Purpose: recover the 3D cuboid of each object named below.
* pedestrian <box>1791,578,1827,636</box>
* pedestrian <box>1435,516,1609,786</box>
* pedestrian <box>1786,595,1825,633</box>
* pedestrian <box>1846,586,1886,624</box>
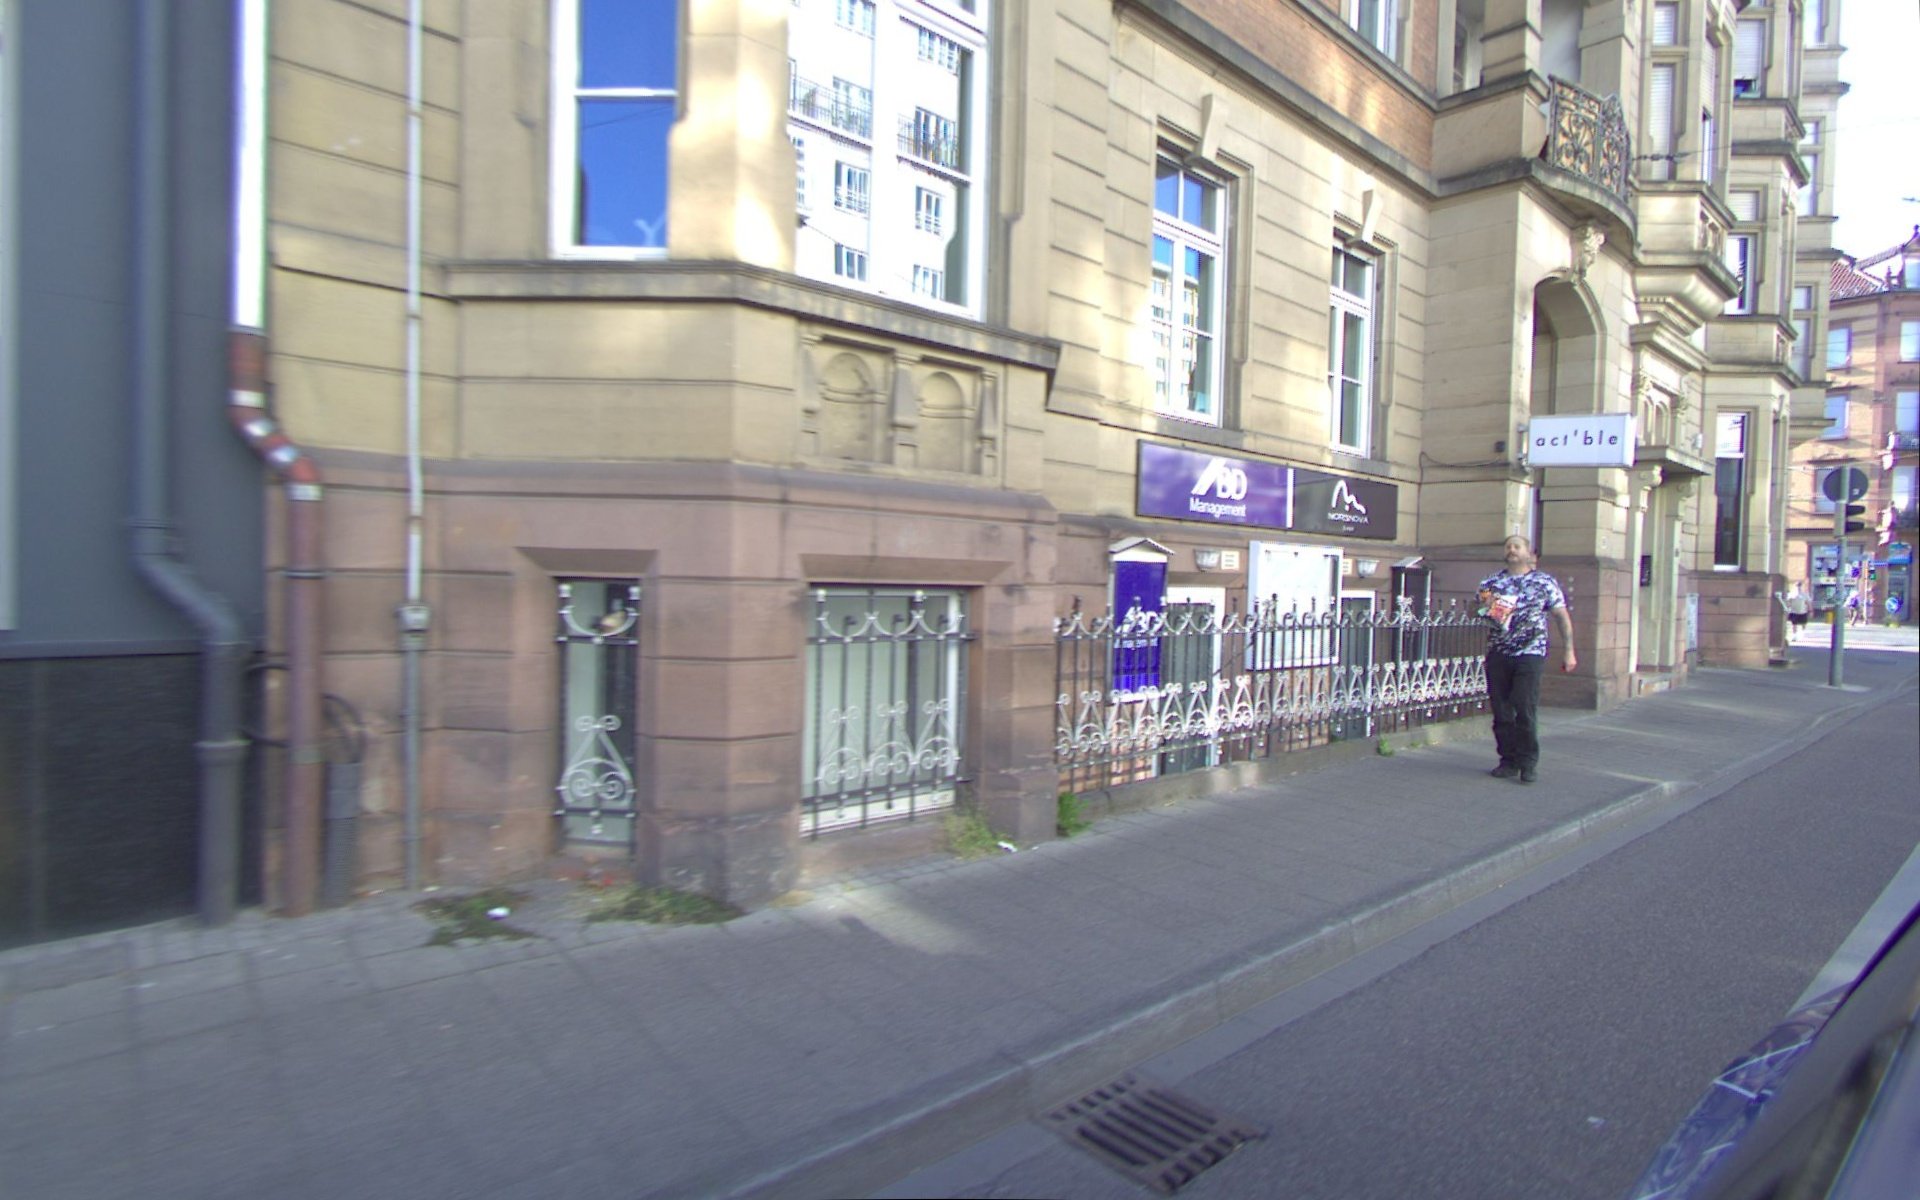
[{"bbox_3d":[25.388,0.205,30.259,0.621,1.675,0.702,-1,3,-41],"label":"pedestrian"},{"bbox_3d":[4.070,0.336,7.317,1.075,1.772,0.780,2,0,-44],"label":"pedestrian"},{"bbox_3d":[38.827,0.624,46.500,0.909,1.652,1.008,1,2,5],"label":"pedestrian"},{"bbox_3d":[40.786,0.201,45.572,0.906,1.652,0.943,0,2,-6],"label":"pedestrian"}]
